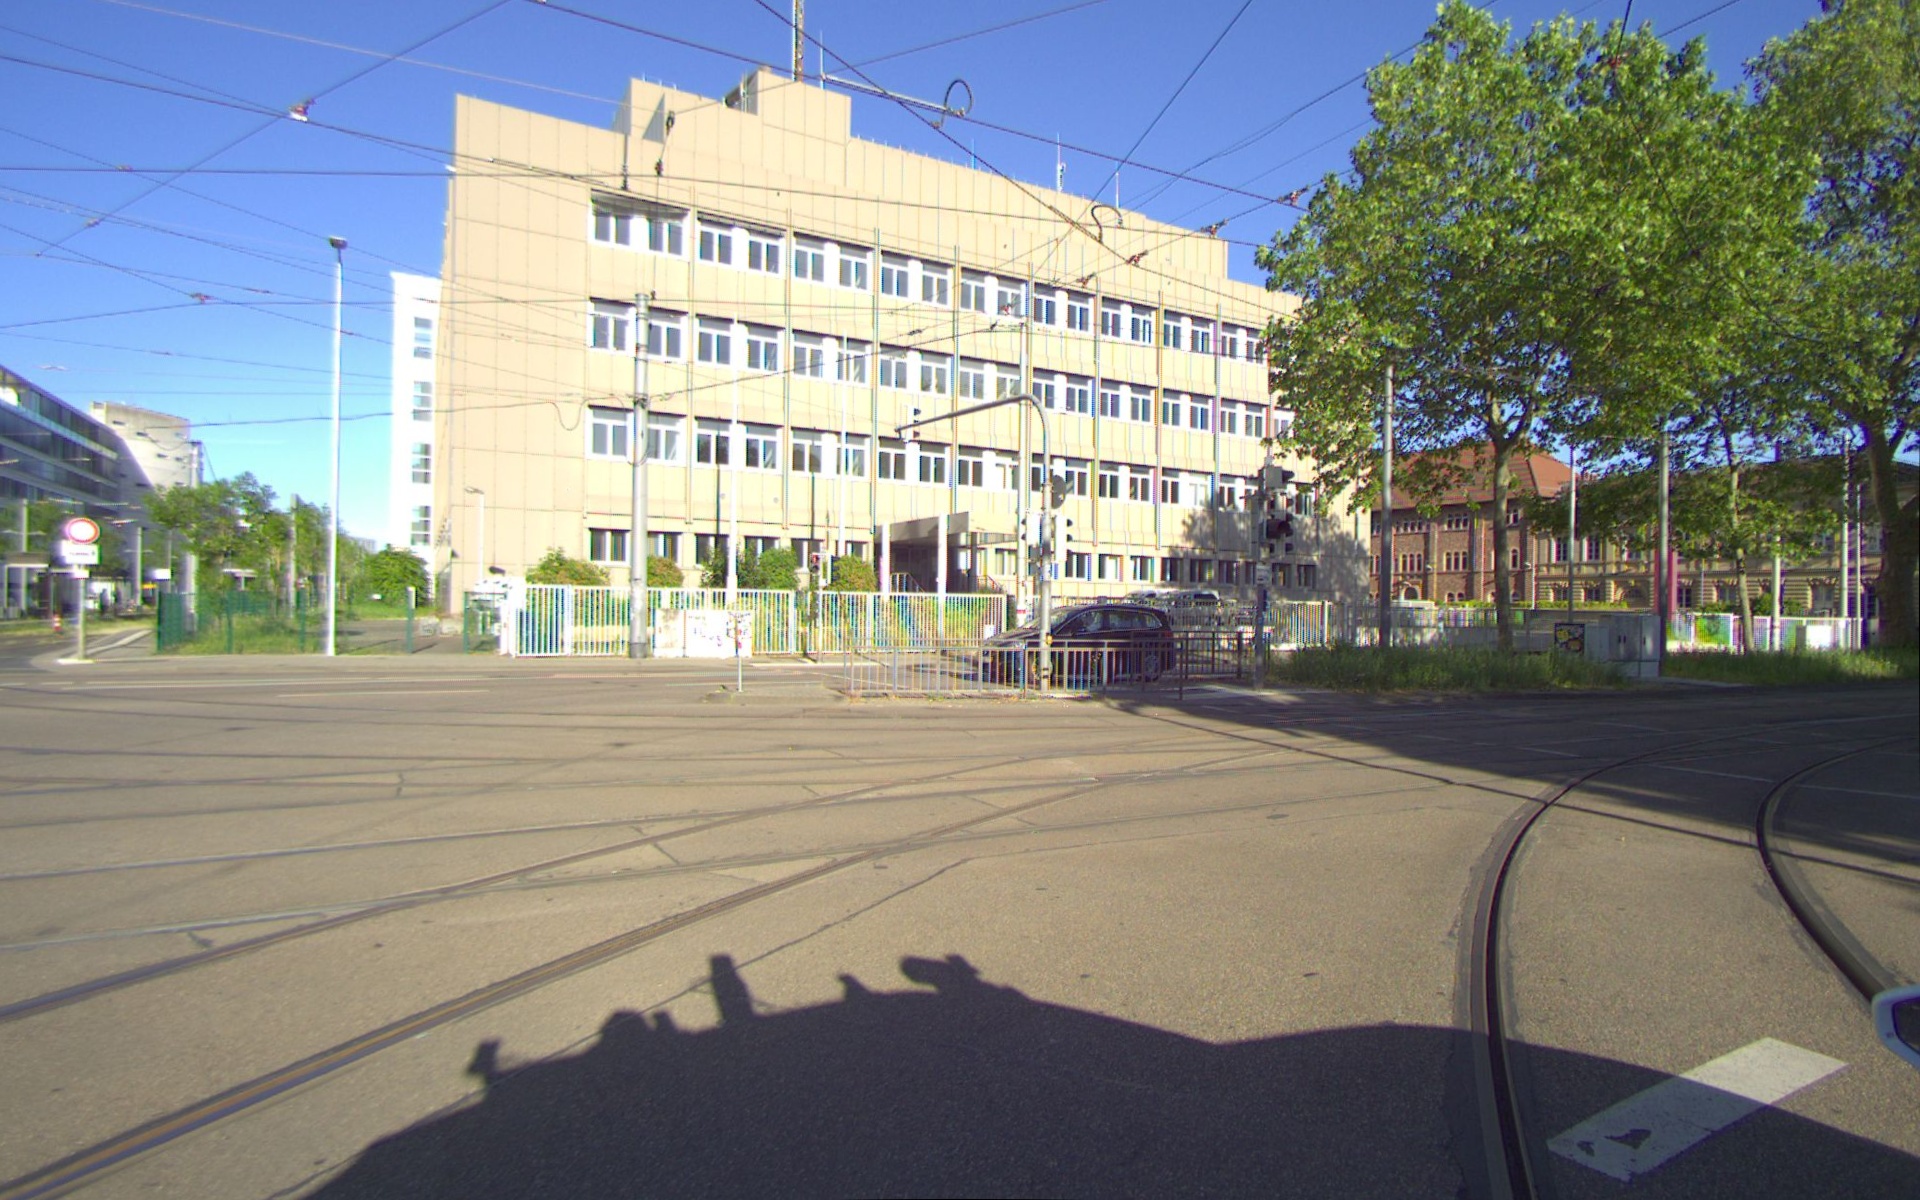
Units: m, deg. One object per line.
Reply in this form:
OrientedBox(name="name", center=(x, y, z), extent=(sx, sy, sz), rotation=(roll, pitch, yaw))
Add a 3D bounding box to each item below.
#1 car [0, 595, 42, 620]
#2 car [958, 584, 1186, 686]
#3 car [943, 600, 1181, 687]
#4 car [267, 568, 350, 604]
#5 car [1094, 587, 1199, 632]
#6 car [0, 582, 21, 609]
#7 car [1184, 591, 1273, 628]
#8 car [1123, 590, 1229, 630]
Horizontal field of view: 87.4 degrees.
OrientedBox(name="car", center=(-60.445, 0.464, 64.292), extent=(1.734, 1.579, 3.916), rotation=(1, 0, -32))
OrientedBox(name="car", center=(2.343, 0.688, 21.136), extent=(4.361, 1.974, 1.989), rotation=(0, 0, -23))
OrientedBox(name="car", center=(2.162, 0.846, 20.956), extent=(4.698, 1.638, 1.984), rotation=(1, 0, -30))
OrientedBox(name="car", center=(-38.005, -0.799, 58.710), extent=(3.952, 2.040, 1.984), rotation=(0, 0, -30))
OrientedBox(name="car", center=(8.890, 0.462, 47.931), extent=(4.660, 2.040, 1.988), rotation=(1, 0, -25))
OrientedBox(name="car", center=(-57.613, -0.319, 59.775), extent=(1.734, 1.579, 3.916), rotation=(1, 0, -31))
OrientedBox(name="car", center=(15.226, 0.532, 57.190), extent=(1.980, 2.040, 4.708), rotation=(1, 0, -35))
OrientedBox(name="car", center=(9.678, 0.454, 44.942), extent=(4.318, 1.726, 1.988), rotation=(1, 0, -25))
